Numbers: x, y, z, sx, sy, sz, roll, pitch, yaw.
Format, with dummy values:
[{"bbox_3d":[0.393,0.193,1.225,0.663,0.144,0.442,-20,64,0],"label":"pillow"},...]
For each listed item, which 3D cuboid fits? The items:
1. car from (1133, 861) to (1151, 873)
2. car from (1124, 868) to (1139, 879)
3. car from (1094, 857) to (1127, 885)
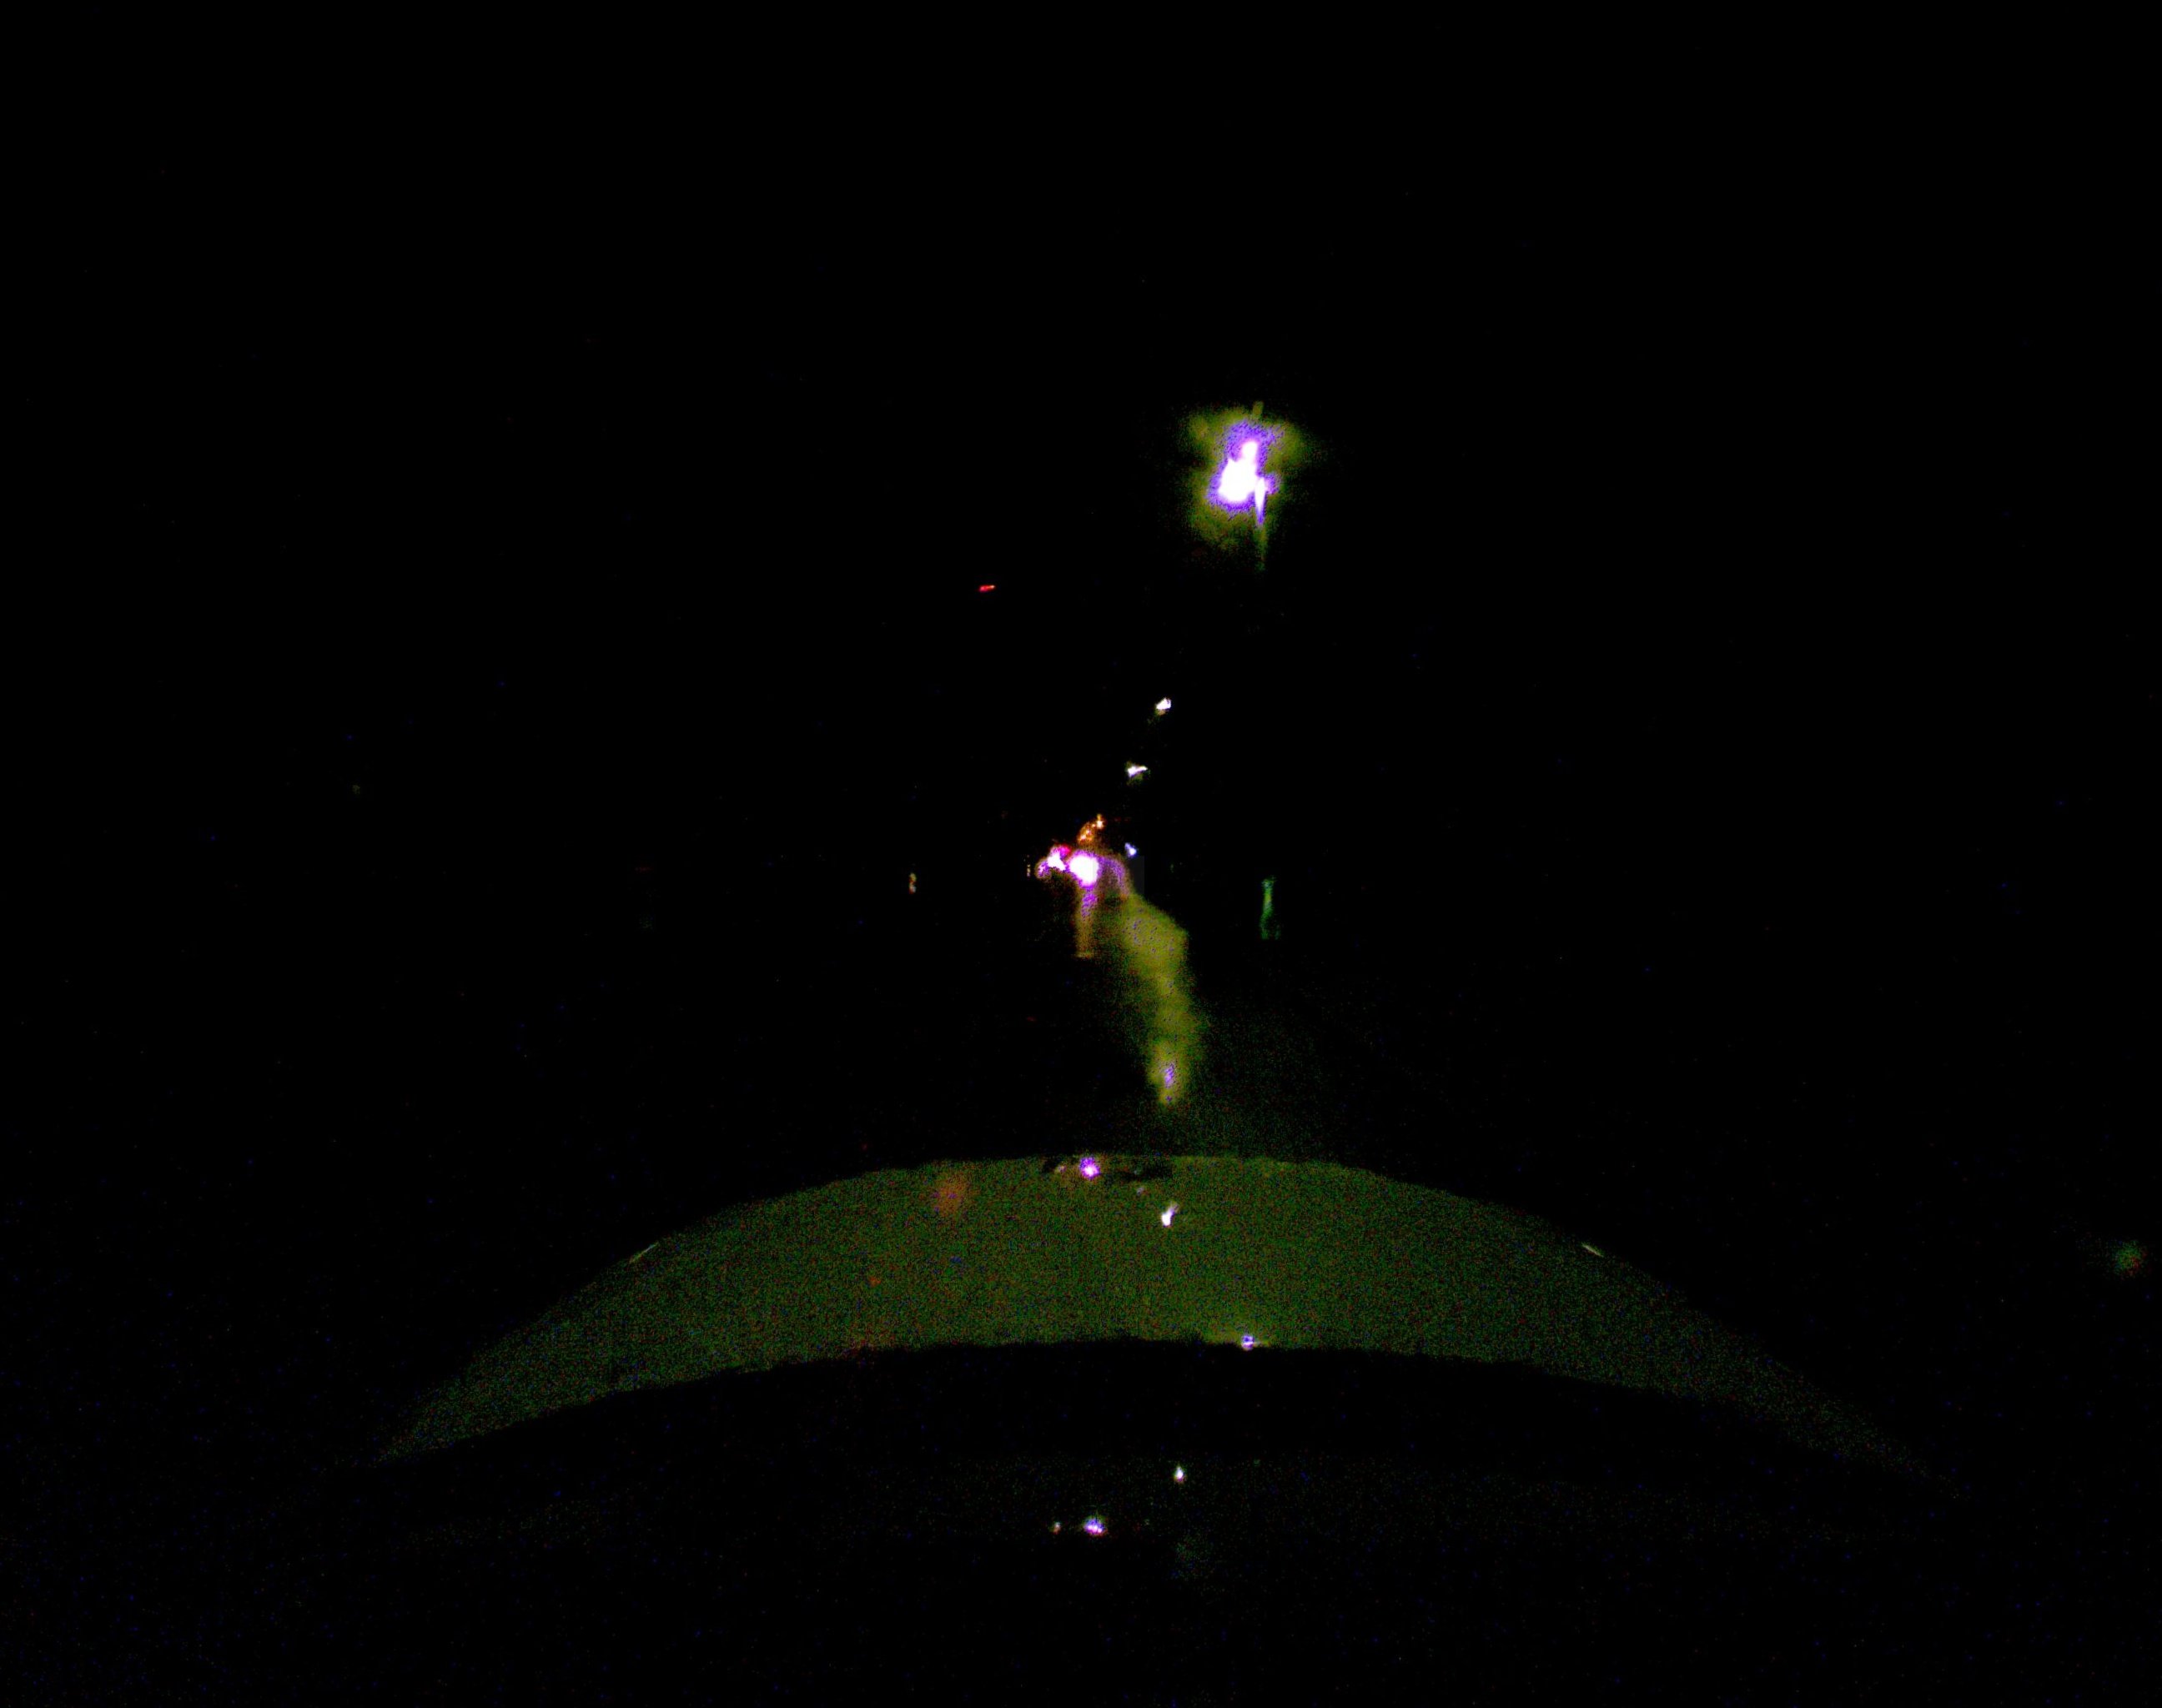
[{"bbox_3d":[8.058,1.709,107.955,1.785,1.449,4.788,-3,0,-1],"label":"car"},{"bbox_3d":[7.369,2.769,118.790,1.708,1.489,4.434,-2,-1,-1],"label":"car"},{"bbox_3d":[1.855,1.071,52.557,1.987,1.684,3.999,-1,0,0],"label":"car"}]
